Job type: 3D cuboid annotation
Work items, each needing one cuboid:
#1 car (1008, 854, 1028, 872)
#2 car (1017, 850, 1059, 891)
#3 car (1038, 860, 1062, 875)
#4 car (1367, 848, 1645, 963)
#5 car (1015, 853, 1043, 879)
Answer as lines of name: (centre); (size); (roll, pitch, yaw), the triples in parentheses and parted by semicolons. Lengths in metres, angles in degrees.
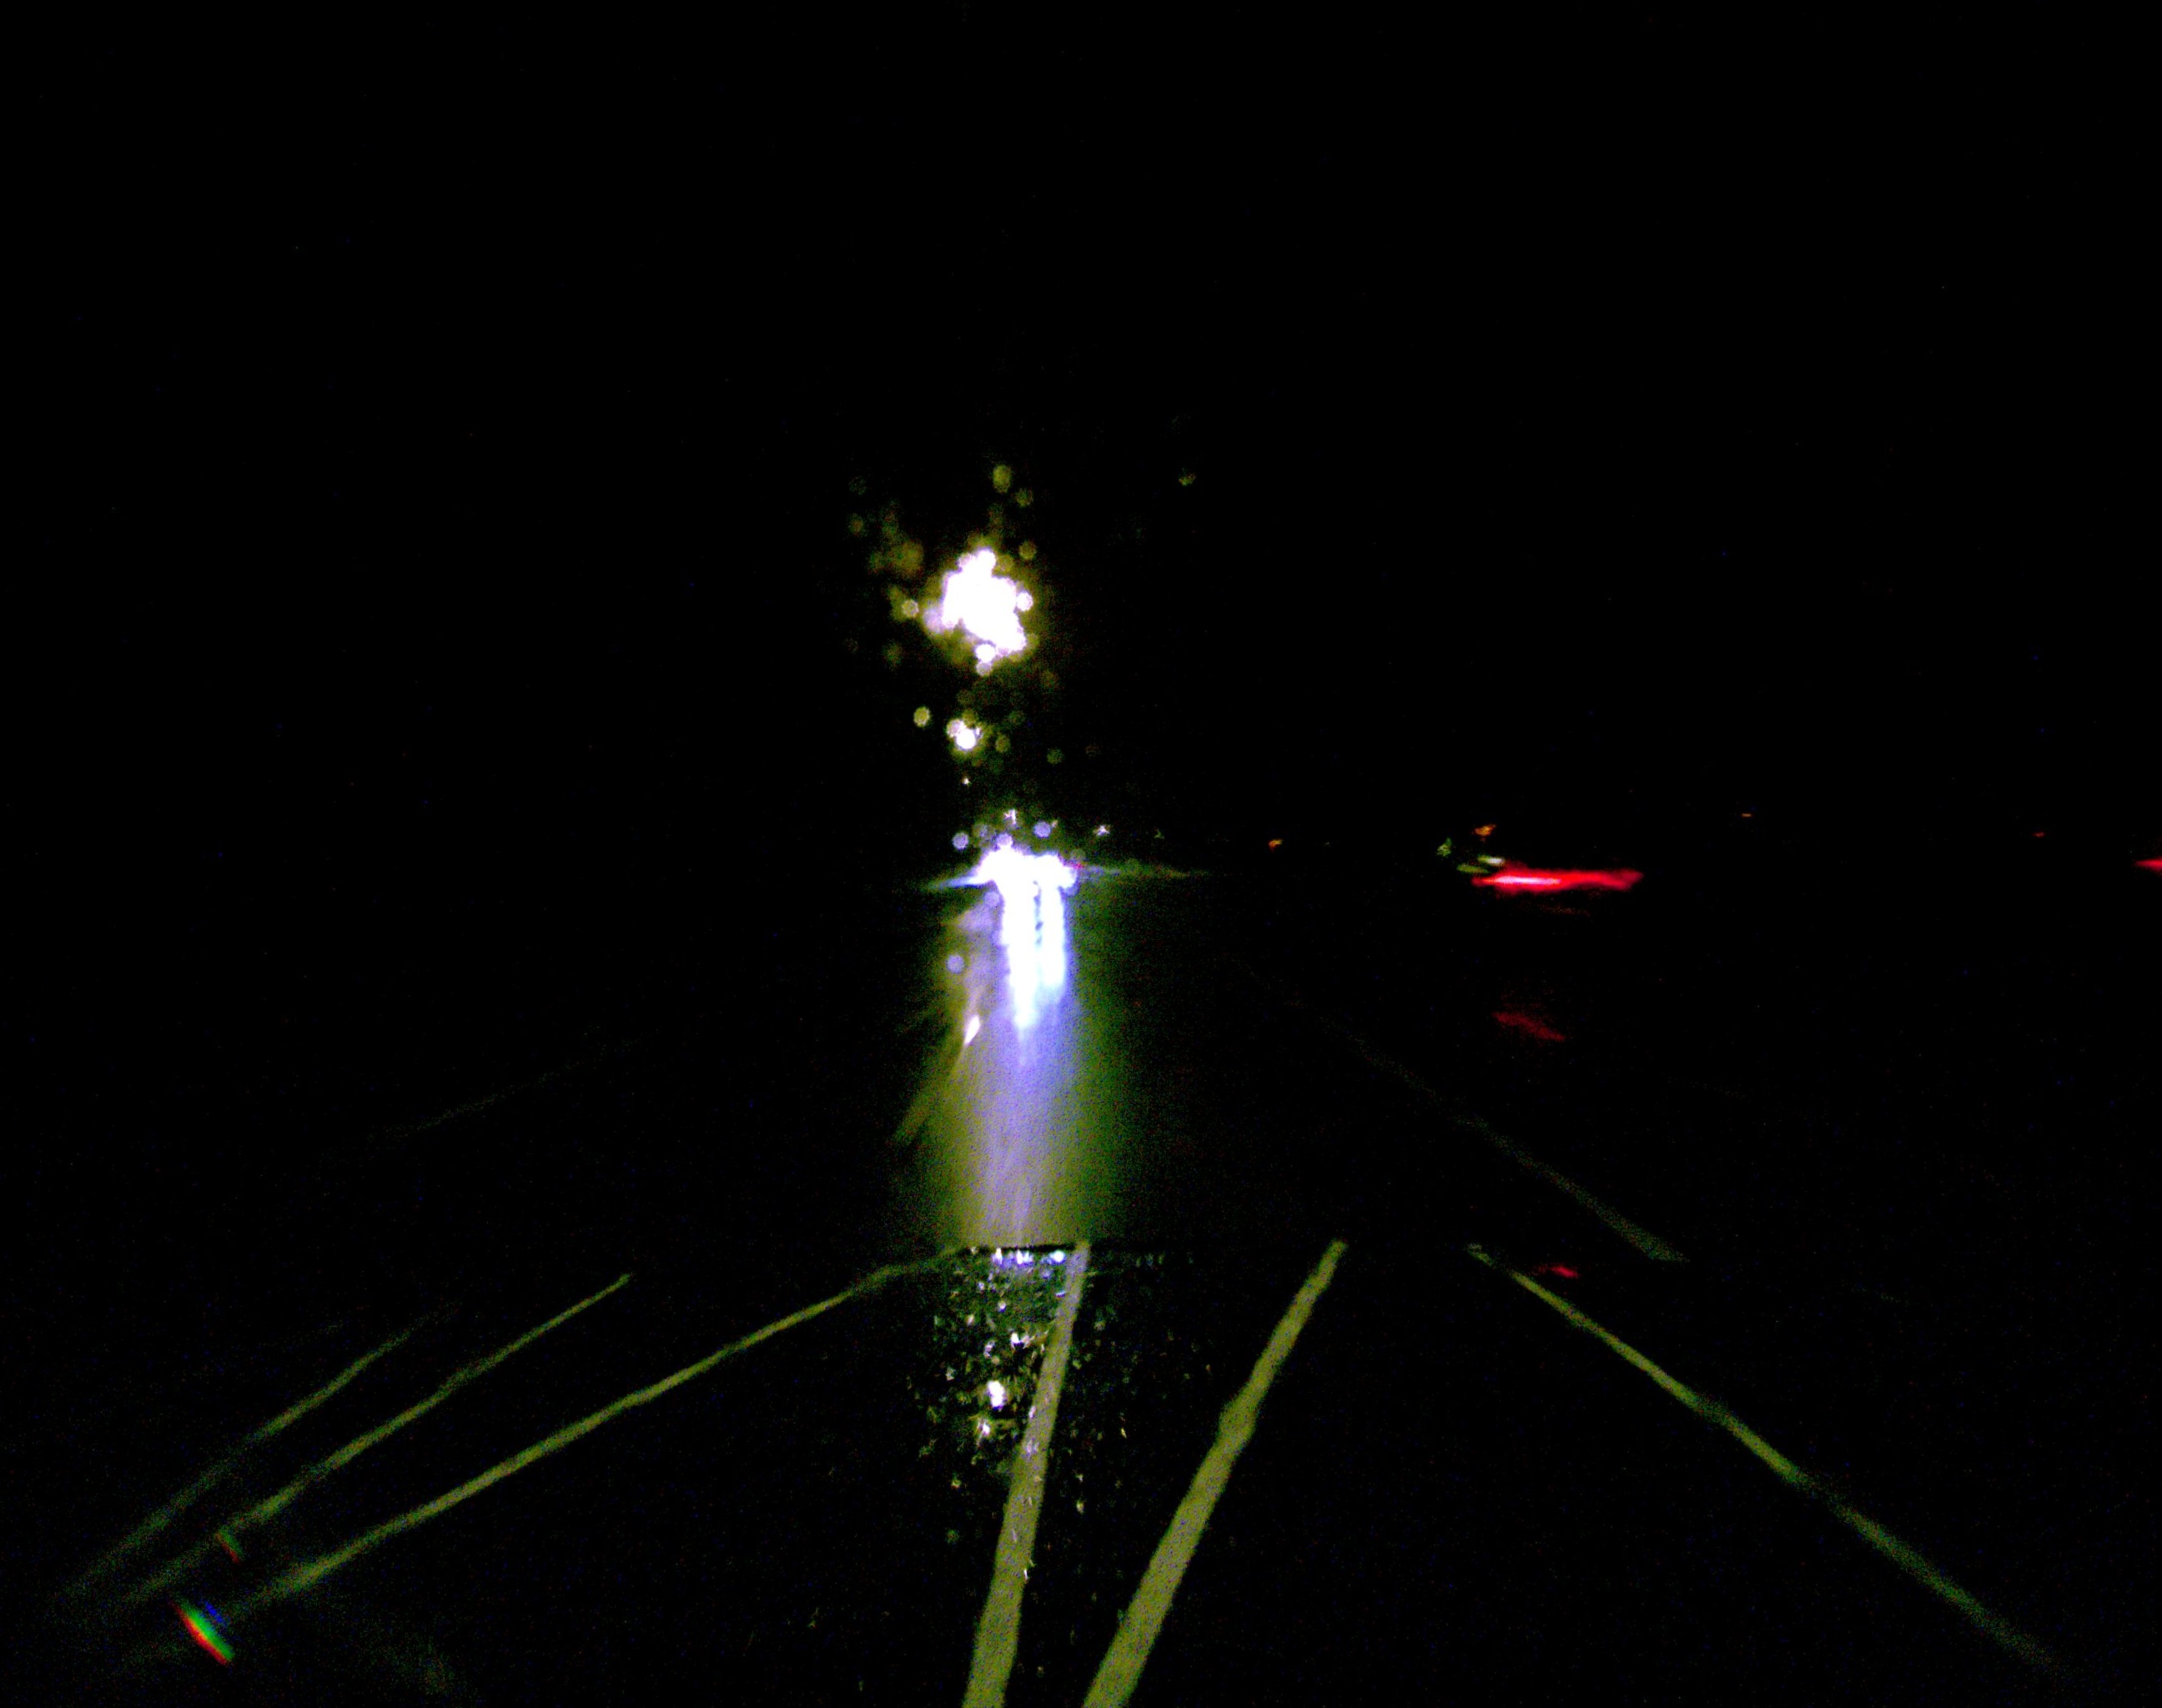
car: (-6.943, 1.010, 83.249); (2.000, 1.922, 3.997); (1, -1, -8)
car: (-2.187, 0.774, 37.871); (1.937, 1.861, 3.998); (-2, 0, -5)
car: (-3.082, 1.321, 75.246); (1.830, 1.394, 4.032); (-1, 0, -10)
car: (6.511, 0.670, 12.280); (1.831, 1.495, 4.185); (-1, 0, -6)
car: (-3.933, 0.902, 57.513); (1.999, 1.922, 3.999); (1, -1, -3)
